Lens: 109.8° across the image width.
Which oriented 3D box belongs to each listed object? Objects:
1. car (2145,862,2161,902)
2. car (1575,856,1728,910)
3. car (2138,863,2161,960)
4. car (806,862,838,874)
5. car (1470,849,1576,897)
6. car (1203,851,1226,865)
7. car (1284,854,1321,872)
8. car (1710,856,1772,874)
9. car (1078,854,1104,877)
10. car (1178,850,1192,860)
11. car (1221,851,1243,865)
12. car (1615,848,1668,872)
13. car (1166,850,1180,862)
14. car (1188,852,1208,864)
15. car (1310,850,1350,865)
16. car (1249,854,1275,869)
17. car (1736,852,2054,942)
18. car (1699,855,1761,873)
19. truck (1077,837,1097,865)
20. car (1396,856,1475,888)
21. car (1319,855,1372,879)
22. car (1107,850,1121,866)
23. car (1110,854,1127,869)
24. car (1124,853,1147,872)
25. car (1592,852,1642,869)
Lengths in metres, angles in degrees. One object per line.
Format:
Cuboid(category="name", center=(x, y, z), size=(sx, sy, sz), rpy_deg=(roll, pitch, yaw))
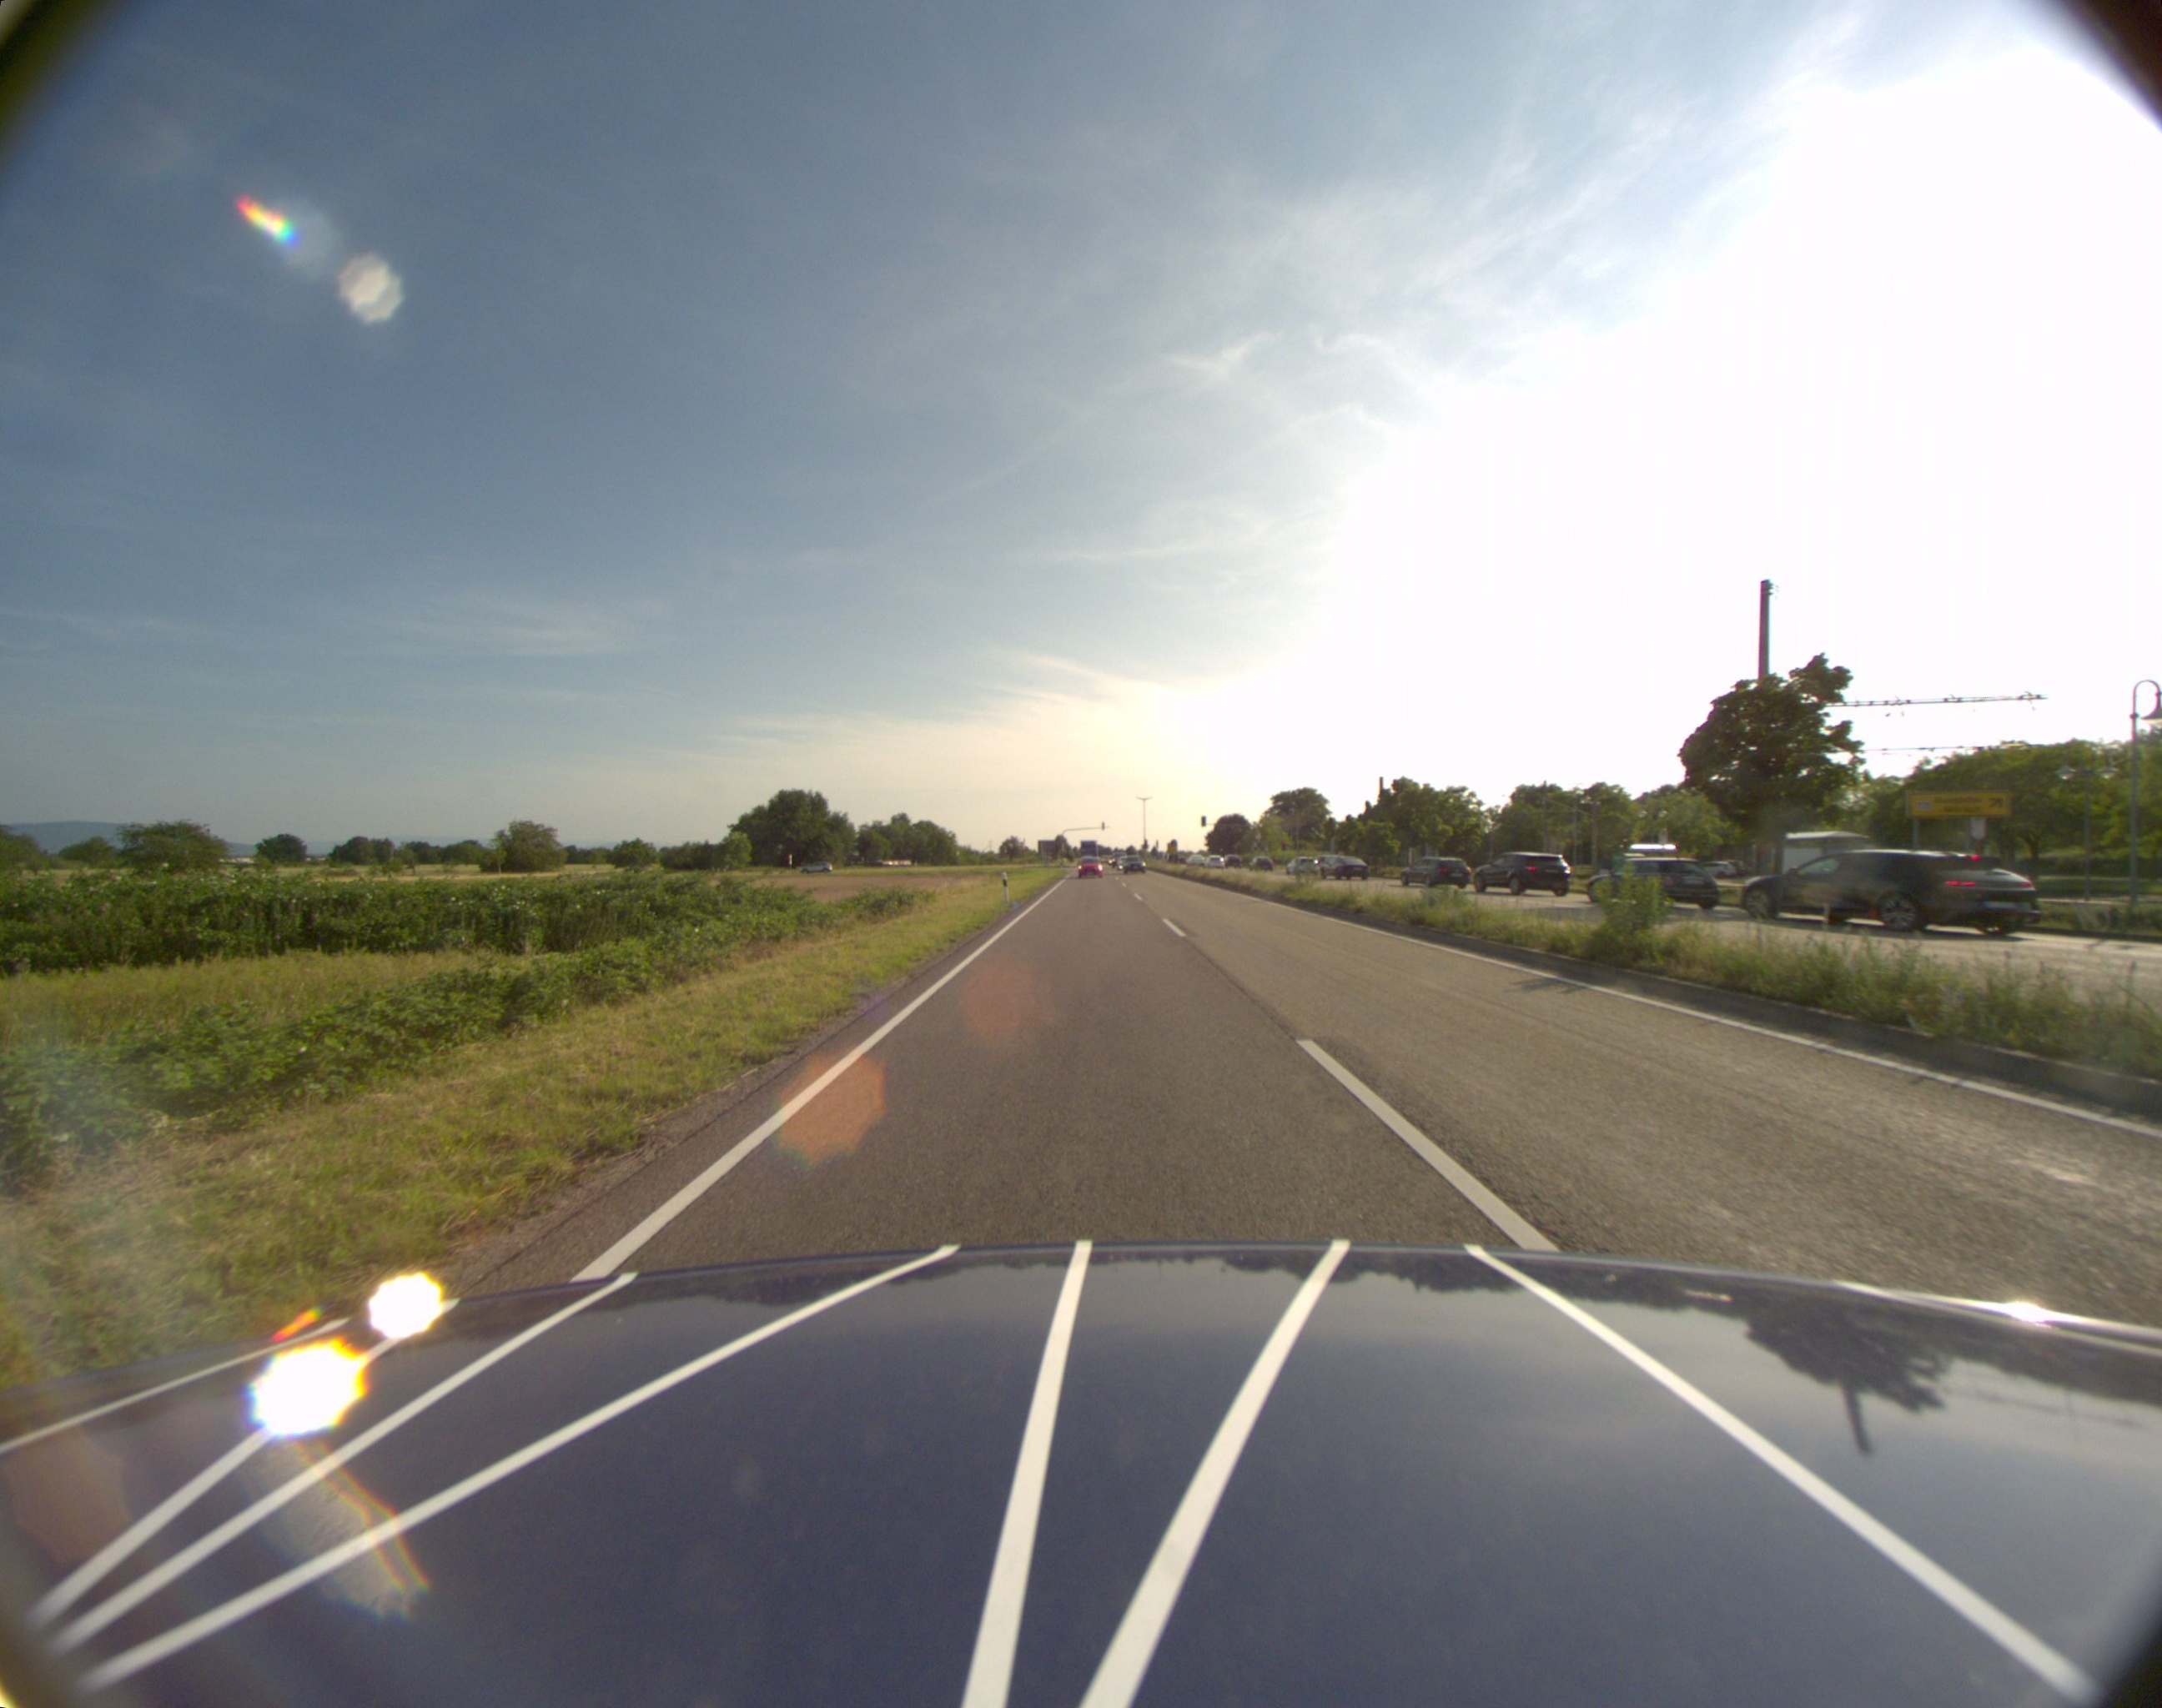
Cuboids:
Cuboid(category="car", center=(48.327, 1.151, 31.912), size=(3.994, 1.652, 2.001), rpy_deg=(-2, 0, 9))
Cuboid(category="car", center=(16.725, 0.798, 22.535), size=(1.664, 1.423, 3.805), rpy_deg=(1, 0, 1))
Cuboid(category="car", center=(16.694, 0.867, 9.487), size=(1.664, 1.423, 3.805), rpy_deg=(1, 0, 1))
Cuboid(category="car", center=(-36.959, 1.984, 108.551), size=(4.002, 1.641, 1.998), rpy_deg=(-2, 0, -14))
Cuboid(category="car", center=(16.981, 0.685, 29.435), size=(1.664, 1.677, 4.229), rpy_deg=(1, 0, 1))
Cuboid(category="car", center=(14.522, 0.447, 83.076), size=(1.823, 1.461, 4.294), rpy_deg=(1, 0, 1))
Cuboid(category="car", center=(17.715, 0.714, 60.972), size=(1.664, 1.373, 4.468), rpy_deg=(1, 0, 1))
Cuboid(category="car", center=(63.044, 1.051, 72.605), size=(2.003, 1.529, 3.991), rpy_deg=(-2, 0, -28))
Cuboid(category="car", center=(0.745, 0.772, 53.677), size=(1.735, 1.467, 4.000), rpy_deg=(-2, 0, 1))
Cuboid(category="car", center=(19.427, 0.171, 142.681), size=(1.998, 1.961, 5.079), rpy_deg=(2, 0, 1))
Cuboid(category="car", center=(18.231, 0.484, 91.941), size=(1.801, 1.580, 4.000), rpy_deg=(1, 0, 1))
Cuboid(category="car", center=(48.210, 0.516, 65.400), size=(3.678, 1.866, 1.832), rpy_deg=(-2, 0, -17))
Cuboid(category="car", center=(14.479, 0.267, 119.762), size=(1.862, 1.735, 4.529), rpy_deg=(1, 0, 1))
Cuboid(category="car", center=(14.398, 0.475, 93.730), size=(1.756, 1.499, 4.583), rpy_deg=(1, 0, 1))
Cuboid(category="car", center=(35.562, 0.475, 108.673), size=(4.844, 1.876, 2.253), rpy_deg=(-2, 0, -4))
Cuboid(category="car", center=(17.592, 0.699, 74.012), size=(1.664, 1.373, 4.000), rpy_deg=(1, 0, 1))
Cuboid(category="car", center=(16.239, 0.754, 15.614), size=(1.664, 1.553, 4.546), rpy_deg=(1, 0, 1))
Cuboid(category="car", center=(60.864, 0.958, 71.313), size=(2.003, 1.529, 3.991), rpy_deg=(-2, 0, -28))
Cuboid(category="truck", center=(1.014, -0.449, 116.851), size=(2.849, 3.896, 10.104), rpy_deg=(-2, 0, 1))
Cuboid(category="car", center=(16.781, 0.800, 36.237), size=(1.664, 1.373, 4.541), rpy_deg=(1, 0, 1))
Cuboid(category="car", center=(16.745, 0.760, 48.395), size=(1.664, 1.407, 4.975), rpy_deg=(1, 0, 1))
Cuboid(category="car", center=(4.101, 0.486, 95.720), size=(1.636, 1.833, 4.000), rpy_deg=(-2, 0, 1))
Cuboid(category="car", center=(3.941, 0.756, 79.658), size=(1.636, 1.442, 4.000), rpy_deg=(-2, 0, 1))
Cuboid(category="car", center=(4.490, 0.666, 63.227), size=(1.636, 1.500, 4.000), rpy_deg=(-2, 0, 1))
Cuboid(category="car", center=(49.369, 0.607, 69.968), size=(4.003, 1.412, 1.831), rpy_deg=(-2, 0, -20))
